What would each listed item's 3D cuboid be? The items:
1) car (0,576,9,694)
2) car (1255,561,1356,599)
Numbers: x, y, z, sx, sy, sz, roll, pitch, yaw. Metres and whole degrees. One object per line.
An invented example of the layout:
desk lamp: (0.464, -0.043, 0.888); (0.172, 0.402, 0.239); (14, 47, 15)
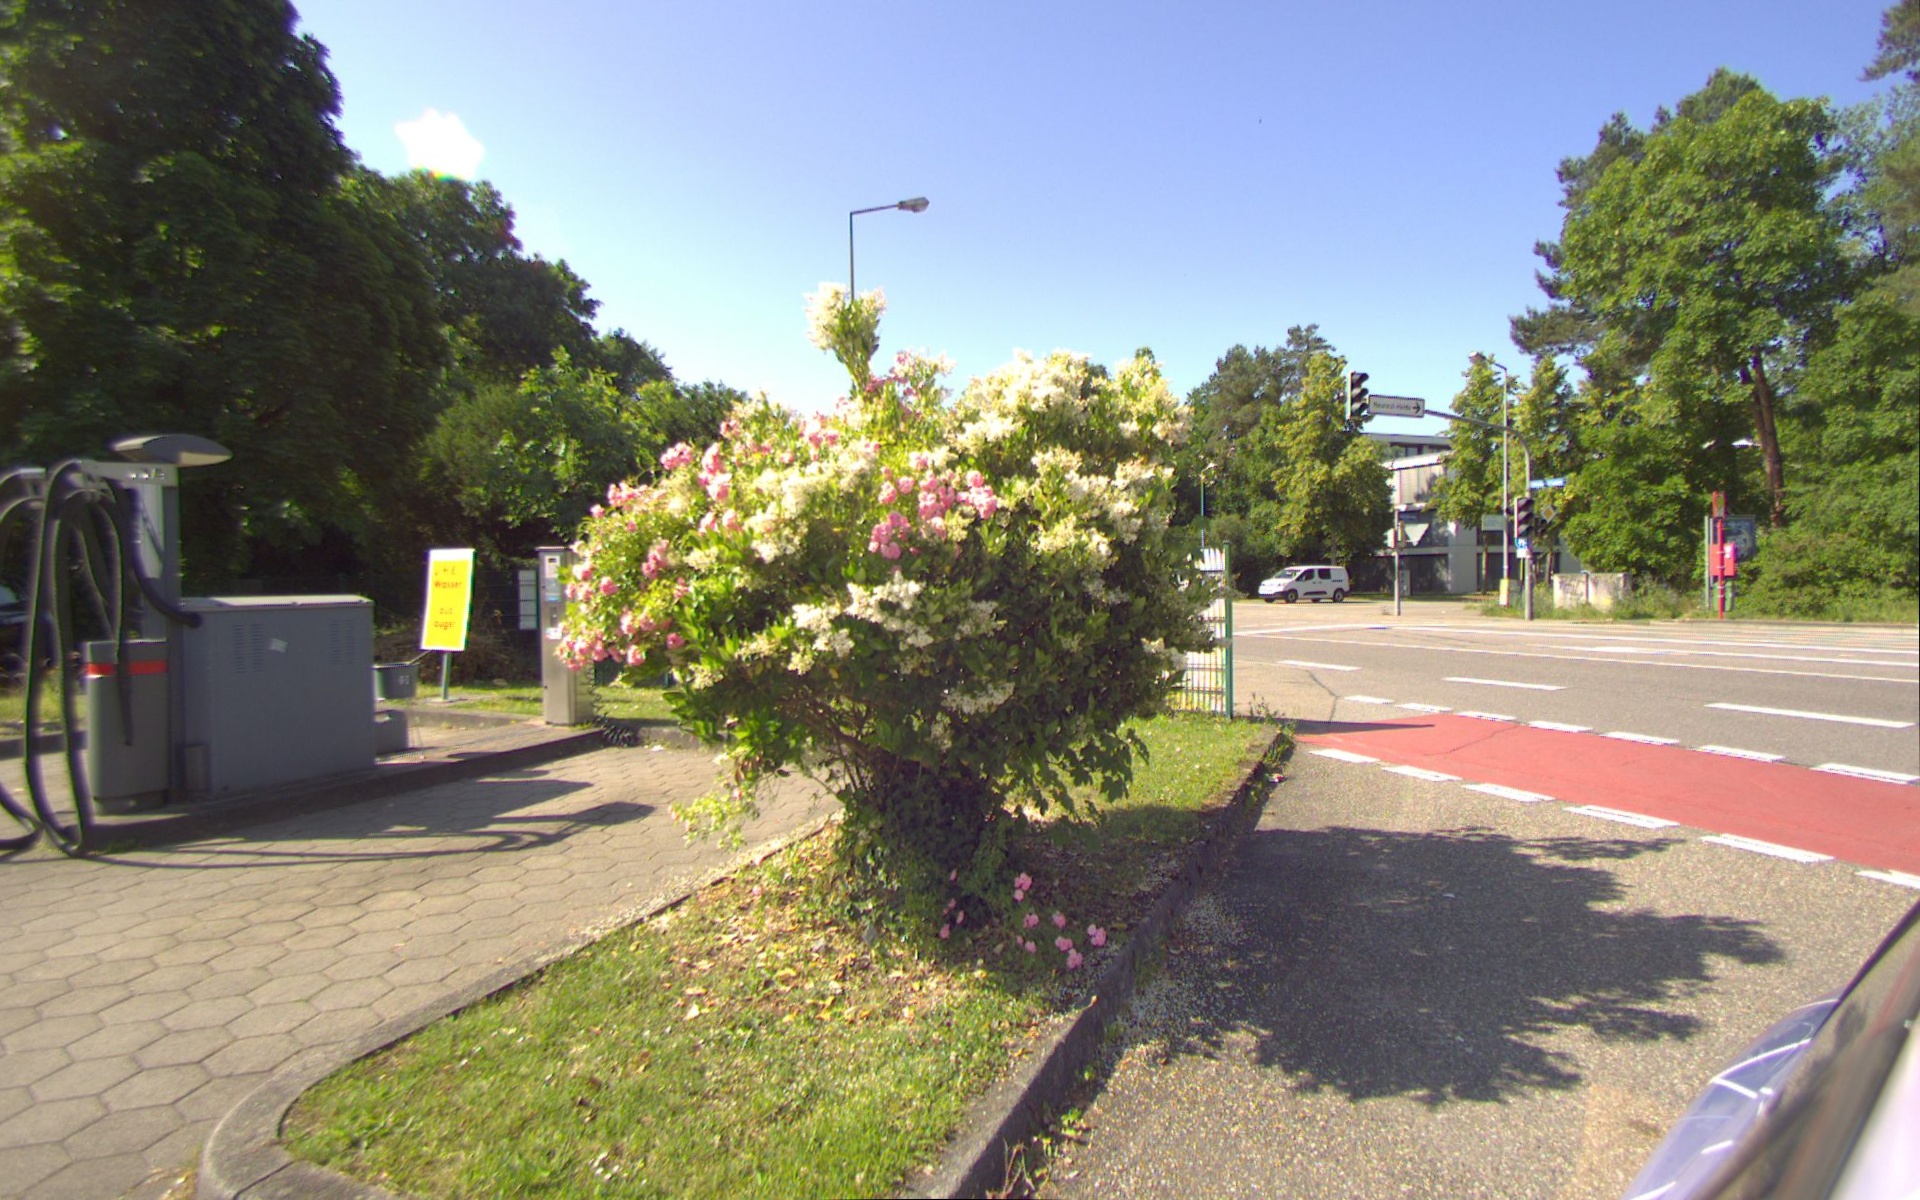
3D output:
car: (-12.548, 0.496, 11.252); (1.649, 1.530, 3.947); (-1, 1, -24)
car: (16.884, -0.978, 49.481); (4.564, 1.800, 1.856); (0, 1, -22)
